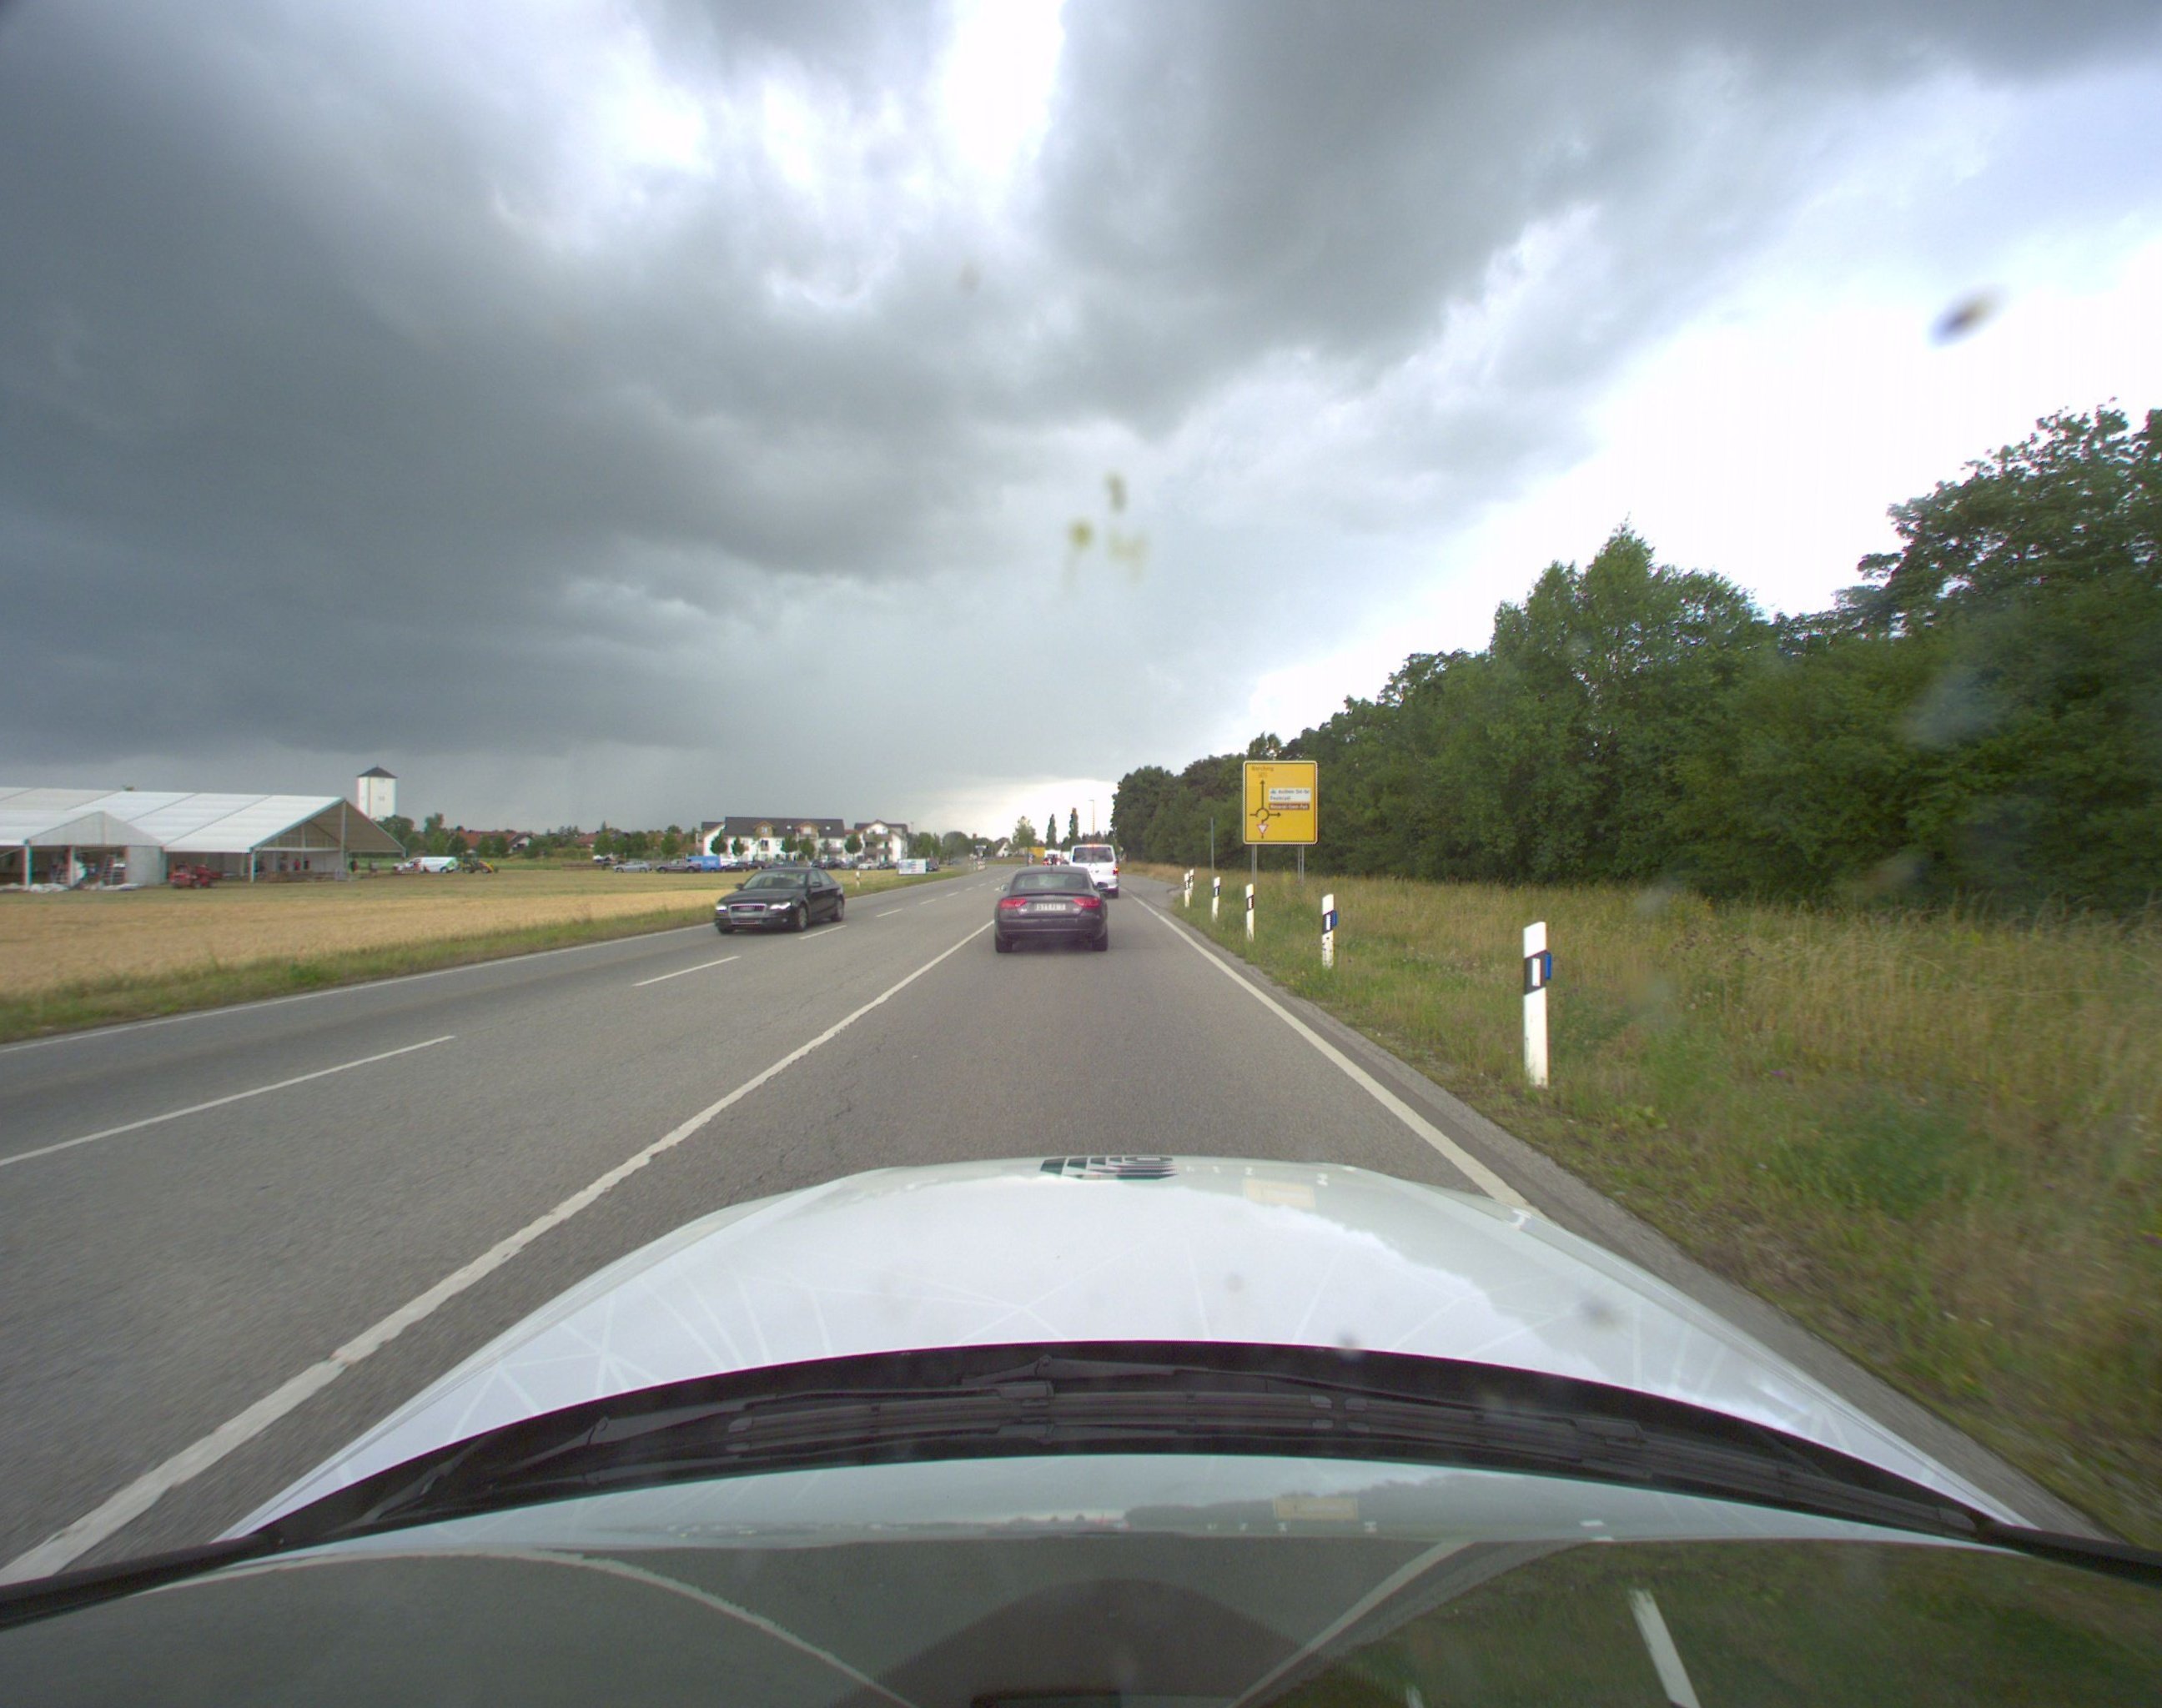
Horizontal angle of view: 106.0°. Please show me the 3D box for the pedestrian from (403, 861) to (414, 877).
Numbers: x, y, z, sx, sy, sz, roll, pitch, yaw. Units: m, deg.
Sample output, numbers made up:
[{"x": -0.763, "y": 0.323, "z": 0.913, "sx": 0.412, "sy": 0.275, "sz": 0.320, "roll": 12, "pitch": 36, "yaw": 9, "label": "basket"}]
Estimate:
[{"x": -74.740, "y": 1.691, "z": 90.535, "sx": 0.690, "sy": 1.776, "sz": 0.691, "roll": 0, "pitch": -1, "yaw": -17, "label": "pedestrian"}]

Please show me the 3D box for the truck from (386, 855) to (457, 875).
[{"x": -78.367, "y": 1.298, "z": 96.925, "sx": 6.079, "sy": 2.217, "sz": 2.696, "roll": 0, "pitch": -1, "yaw": -28, "label": "truck"}]

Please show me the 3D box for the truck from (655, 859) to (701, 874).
[{"x": -51.768, "y": 1.608, "z": 104.676, "sx": 5.256, "sy": 1.921, "sz": 2.093, "roll": 0, "pitch": -1, "yaw": -28, "label": "truck"}]

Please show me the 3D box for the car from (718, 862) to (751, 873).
[{"x": -48.308, "y": 1.855, "z": 113.602, "sx": 4.171, "sy": 1.519, "sz": 1.986, "roll": 0, "pitch": -1, "yaw": -22, "label": "car"}]

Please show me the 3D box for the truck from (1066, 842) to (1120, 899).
[{"x": 0.404, "y": 0.587, "z": 30.770, "sx": 1.898, "sy": 1.998, "sz": 4.627, "roll": 0, "pitch": 0, "yaw": -1, "label": "truck"}]

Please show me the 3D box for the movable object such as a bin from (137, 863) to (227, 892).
[{"x": -62.310, "y": 1.577, "z": 56.586, "sx": 2.601, "sy": 1.864, "sz": 4.438, "roll": 0, "pitch": -1, "yaw": -24, "label": "movable object such as a bin"}]

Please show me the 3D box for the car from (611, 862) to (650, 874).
[{"x": -58.513, "y": 1.831, "z": 105.840, "sx": 4.319, "sy": 1.461, "sz": 1.875, "roll": 0, "pitch": -1, "yaw": -28, "label": "car"}]

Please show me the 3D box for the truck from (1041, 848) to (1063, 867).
[{"x": -4.238, "y": 0.480, "z": 118.784, "sx": 2.624, "sy": 2.737, "sz": 5.851, "roll": 0, "pitch": -1, "yaw": -8, "label": "truck"}]

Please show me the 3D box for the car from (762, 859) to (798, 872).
[{"x": -42.868, "y": 1.610, "z": 116.007, "sx": 4.733, "sy": 1.697, "sz": 1.986, "roll": 0, "pitch": -1, "yaw": -21, "label": "car"}]

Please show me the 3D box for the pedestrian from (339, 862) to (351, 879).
[{"x": -74.137, "y": 1.664, "z": 82.068, "sx": 0.691, "sy": 1.776, "sz": 0.689, "roll": 0, "pitch": -1, "yaw": -24, "label": "pedestrian"}]

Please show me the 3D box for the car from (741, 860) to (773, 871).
[{"x": -50.706, "y": 1.825, "z": 127.587, "sx": 4.643, "sy": 1.697, "sz": 1.986, "roll": 0, "pitch": -1, "yaw": -21, "label": "car"}]

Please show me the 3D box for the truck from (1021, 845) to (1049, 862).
[{"x": -10.279, "y": -0.072, "z": 180.305, "sx": 3.587, "sy": 3.578, "sz": 9.892, "roll": 0, "pitch": 0, "yaw": -19, "label": "truck"}]

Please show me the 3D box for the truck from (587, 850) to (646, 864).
[{"x": -87.611, "y": 0.601, "z": 153.786, "sx": 9.307, "sy": 2.530, "sz": 3.302, "roll": 0, "pitch": 0, "yaw": 2, "label": "truck"}]

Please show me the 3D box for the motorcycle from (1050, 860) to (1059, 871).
[{"x": -2.666, "y": 1.177, "z": 82.410, "sx": 0.917, "sy": 1.094, "sz": 2.188, "roll": 0, "pitch": 0, "yaw": -1, "label": "motorcycle"}]

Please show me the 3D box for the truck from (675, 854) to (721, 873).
[{"x": -51.159, "y": 1.303, "z": 108.939, "sx": 5.473, "sy": 2.446, "sz": 2.375, "roll": 0, "pitch": -1, "yaw": -24, "label": "truck"}]

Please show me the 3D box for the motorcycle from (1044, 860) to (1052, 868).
[{"x": -4.369, "y": 1.284, "z": 107.325, "sx": 0.943, "sy": 1.019, "sz": 2.279, "roll": 0, "pitch": 0, "yaw": -6, "label": "motorcycle"}]

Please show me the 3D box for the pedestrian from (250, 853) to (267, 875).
[{"x": -76.568, "y": 0.962, "z": 75.814, "sx": 0.880, "sy": 2.014, "sz": 0.760, "roll": 0, "pitch": -1, "yaw": -31, "label": "pedestrian"}]

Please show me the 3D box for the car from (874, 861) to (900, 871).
[{"x": -29.218, "y": 1.752, "z": 122.899, "sx": 1.978, "sy": 1.446, "sz": 4.231, "roll": -1, "pitch": 0, "yaw": 17, "label": "car"}]

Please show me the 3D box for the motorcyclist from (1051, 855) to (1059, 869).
[{"x": -2.657, "y": 0.783, "z": 82.372, "sx": 0.770, "sy": 1.383, "sz": 0.819, "roll": 0, "pitch": -1, "yaw": -2, "label": "motorcyclist"}]

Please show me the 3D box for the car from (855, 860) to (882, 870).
[{"x": -32.114, "y": 1.689, "z": 123.229, "sx": 1.978, "sy": 1.446, "sz": 4.231, "roll": -1, "pitch": 0, "yaw": 17, "label": "car"}]

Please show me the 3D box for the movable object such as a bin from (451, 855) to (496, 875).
[{"x": -71.810, "y": 1.266, "z": 96.330, "sx": 4.008, "sy": 2.243, "sz": 1.868, "roll": 0, "pitch": -1, "yaw": -29, "label": "movable object such as a bin"}]

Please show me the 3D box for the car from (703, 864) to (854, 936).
[{"x": -6.896, "y": 0.987, "z": 19.104, "sx": 1.820, "sy": 1.410, "sz": 4.424, "roll": -1, "pitch": 0, "yaw": 1, "label": "car"}]

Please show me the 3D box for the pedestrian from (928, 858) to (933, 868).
[{"x": -24.648, "y": 1.425, "z": 133.275, "sx": 0.695, "sy": 1.586, "sz": 0.660, "roll": -1, "pitch": -1, "yaw": 16, "label": "pedestrian"}]

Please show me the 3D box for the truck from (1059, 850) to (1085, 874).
[{"x": -0.780, "y": 0.686, "z": 71.358, "sx": 2.187, "sy": 2.014, "sz": 5.083, "roll": 0, "pitch": 0, "yaw": -1, "label": "truck"}]

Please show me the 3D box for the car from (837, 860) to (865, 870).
[{"x": -34.876, "y": 1.666, "z": 123.574, "sx": 1.978, "sy": 1.536, "sz": 4.231, "roll": -1, "pitch": 0, "yaw": 17, "label": "car"}]

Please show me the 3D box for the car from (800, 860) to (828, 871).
[{"x": -41.248, "y": 1.783, "z": 126.076, "sx": 1.978, "sy": 1.629, "sz": 4.231, "roll": -1, "pitch": 0, "yaw": 17, "label": "car"}]

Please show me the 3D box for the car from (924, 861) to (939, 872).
[{"x": -20.364, "y": 1.728, "z": 110.766, "sx": 1.995, "sy": 1.442, "sz": 3.984, "roll": 0, "pitch": 0, "yaw": -12, "label": "car"}]

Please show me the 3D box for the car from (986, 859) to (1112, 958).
[{"x": -0.525, "y": 0.826, "z": 14.343, "sx": 1.870, "sy": 1.454, "sz": 4.174, "roll": -1, "pitch": 0, "yaw": -1, "label": "car"}]

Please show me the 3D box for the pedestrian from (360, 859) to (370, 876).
[{"x": -76.147, "y": 1.429, "z": 86.641, "sx": 0.626, "sy": 1.866, "sz": 0.703, "roll": 0, "pitch": -1, "yaw": -23, "label": "pedestrian"}]

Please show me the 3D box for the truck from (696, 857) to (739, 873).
[{"x": -51.874, "y": 1.556, "z": 116.396, "sx": 5.590, "sy": 2.196, "sz": 2.586, "roll": 0, "pitch": -1, "yaw": -24, "label": "truck"}]

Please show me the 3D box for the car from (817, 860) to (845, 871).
[{"x": -38.034, "y": 1.680, "z": 123.951, "sx": 1.978, "sy": 1.629, "sz": 4.231, "roll": -1, "pitch": 0, "yaw": 17, "label": "car"}]

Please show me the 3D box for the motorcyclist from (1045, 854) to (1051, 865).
[{"x": -4.373, "y": 0.748, "z": 107.313, "sx": 0.785, "sy": 1.356, "sz": 0.852, "roll": 0, "pitch": -1, "yaw": -7, "label": "motorcyclist"}]

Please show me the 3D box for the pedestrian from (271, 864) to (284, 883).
[{"x": -76.813, "y": 1.837, "z": 77.864, "sx": 0.750, "sy": 1.779, "sz": 0.736, "roll": -1, "pitch": -1, "yaw": 32, "label": "pedestrian"}]

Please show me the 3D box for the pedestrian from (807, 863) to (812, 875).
[{"x": -34.946, "y": 1.882, "z": 104.965, "sx": 0.591, "sy": 1.555, "sz": 0.622, "roll": 0, "pitch": -1, "yaw": -20, "label": "pedestrian"}]
